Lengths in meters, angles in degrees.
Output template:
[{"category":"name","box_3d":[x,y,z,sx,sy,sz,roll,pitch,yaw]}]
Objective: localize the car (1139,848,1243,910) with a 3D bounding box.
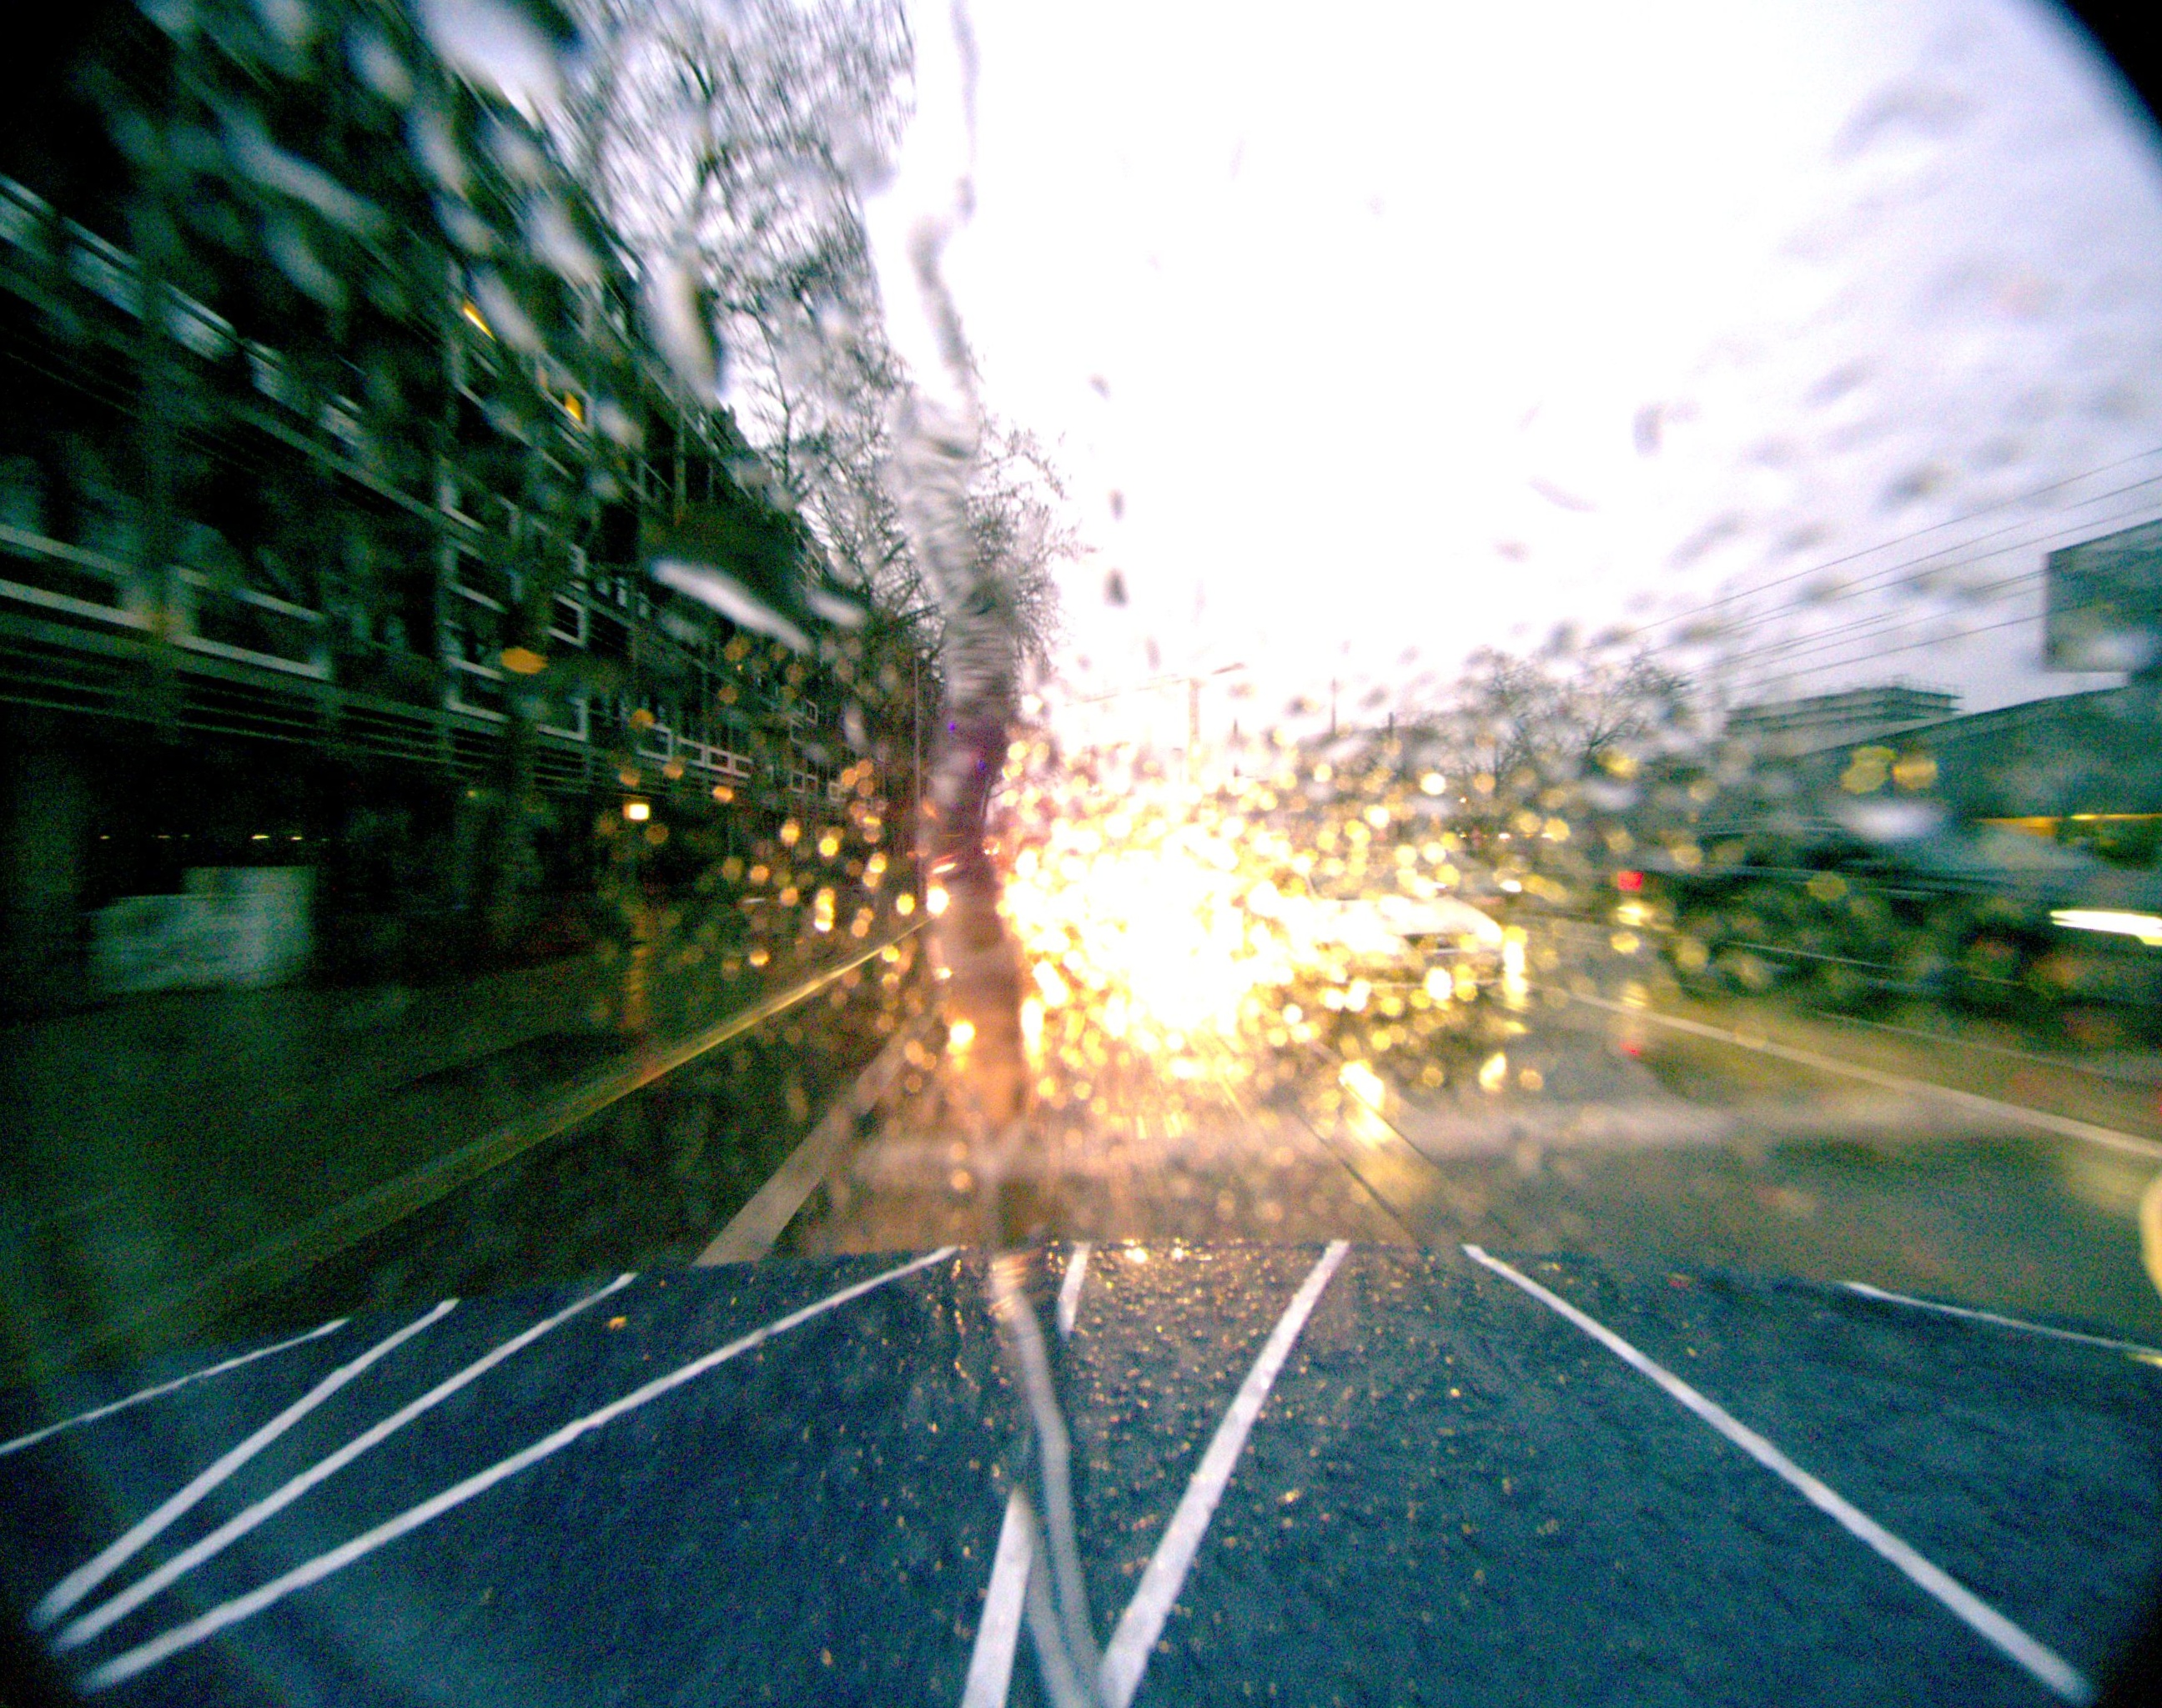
[{"category":"car","box_3d":[2.867,0.587,20.808,1.999,1.478,4.504,0,1,-3]}]

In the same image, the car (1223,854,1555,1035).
[{"category":"car","box_3d":[3.175,0.803,9.016,1.949,1.478,4.504,-2,1,-2]}]

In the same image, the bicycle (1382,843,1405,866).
[{"category":"bicycle","box_3d":[24.034,0.030,58.452,0.763,1.723,2.062,-2,3,-3]}]

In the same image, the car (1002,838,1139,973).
[{"category":"car","box_3d":[-0.305,0.694,12.702,1.878,1.831,3.997,-2,1,-5]}]

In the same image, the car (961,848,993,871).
[{"category":"car","box_3d":[-7.191,0.367,52.747,1.713,1.455,3.999,-2,1,-1]}]

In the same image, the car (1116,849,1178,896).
[{"category":"car","box_3d":[2.393,0.632,28.560,1.907,1.565,3.999,-2,1,-1]}]

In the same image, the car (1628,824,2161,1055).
[{"category":"car","box_3d":[7.811,0.532,7.341,1.972,1.575,4.288,-1,1,0]}]

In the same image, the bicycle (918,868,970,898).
[{"category":"bicycle","box_3d":[-4.879,1.020,27.139,1.704,0.987,0.879,1,1,-1]}]

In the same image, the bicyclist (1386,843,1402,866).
[{"category":"bicyclist","box_3d":[24.026,0.029,58.395,0.763,1.723,0.960,-2,3,-4]}]

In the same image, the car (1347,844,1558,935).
[{"category":"car","box_3d":[7.224,0.588,15.426,1.854,1.499,4.661,-1,1,-3]}]

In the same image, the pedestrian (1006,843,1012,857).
[{"category":"pedestrian","box_3d":[-9.061,-0.511,96.161,0.767,1.740,0.927,0,2,-5]}]

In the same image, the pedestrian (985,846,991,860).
[{"category":"pedestrian","box_3d":[-11.480,-0.122,93.704,0.767,1.740,0.927,0,2,-5]}]

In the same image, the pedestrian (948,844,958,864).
[{"category":"pedestrian","box_3d":[-11.398,0.018,67.739,0.767,1.740,0.927,0,2,-5]}]

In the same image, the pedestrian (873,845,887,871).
[{"category":"pedestrian","box_3d":[-13.713,0.290,51.767,0.767,1.740,0.927,0,2,-5]}]

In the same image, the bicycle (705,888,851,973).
[{"category":"bicycle","box_3d":[-4.324,1.078,10.917,1.811,1.124,0.640,1,0,-1]}]
